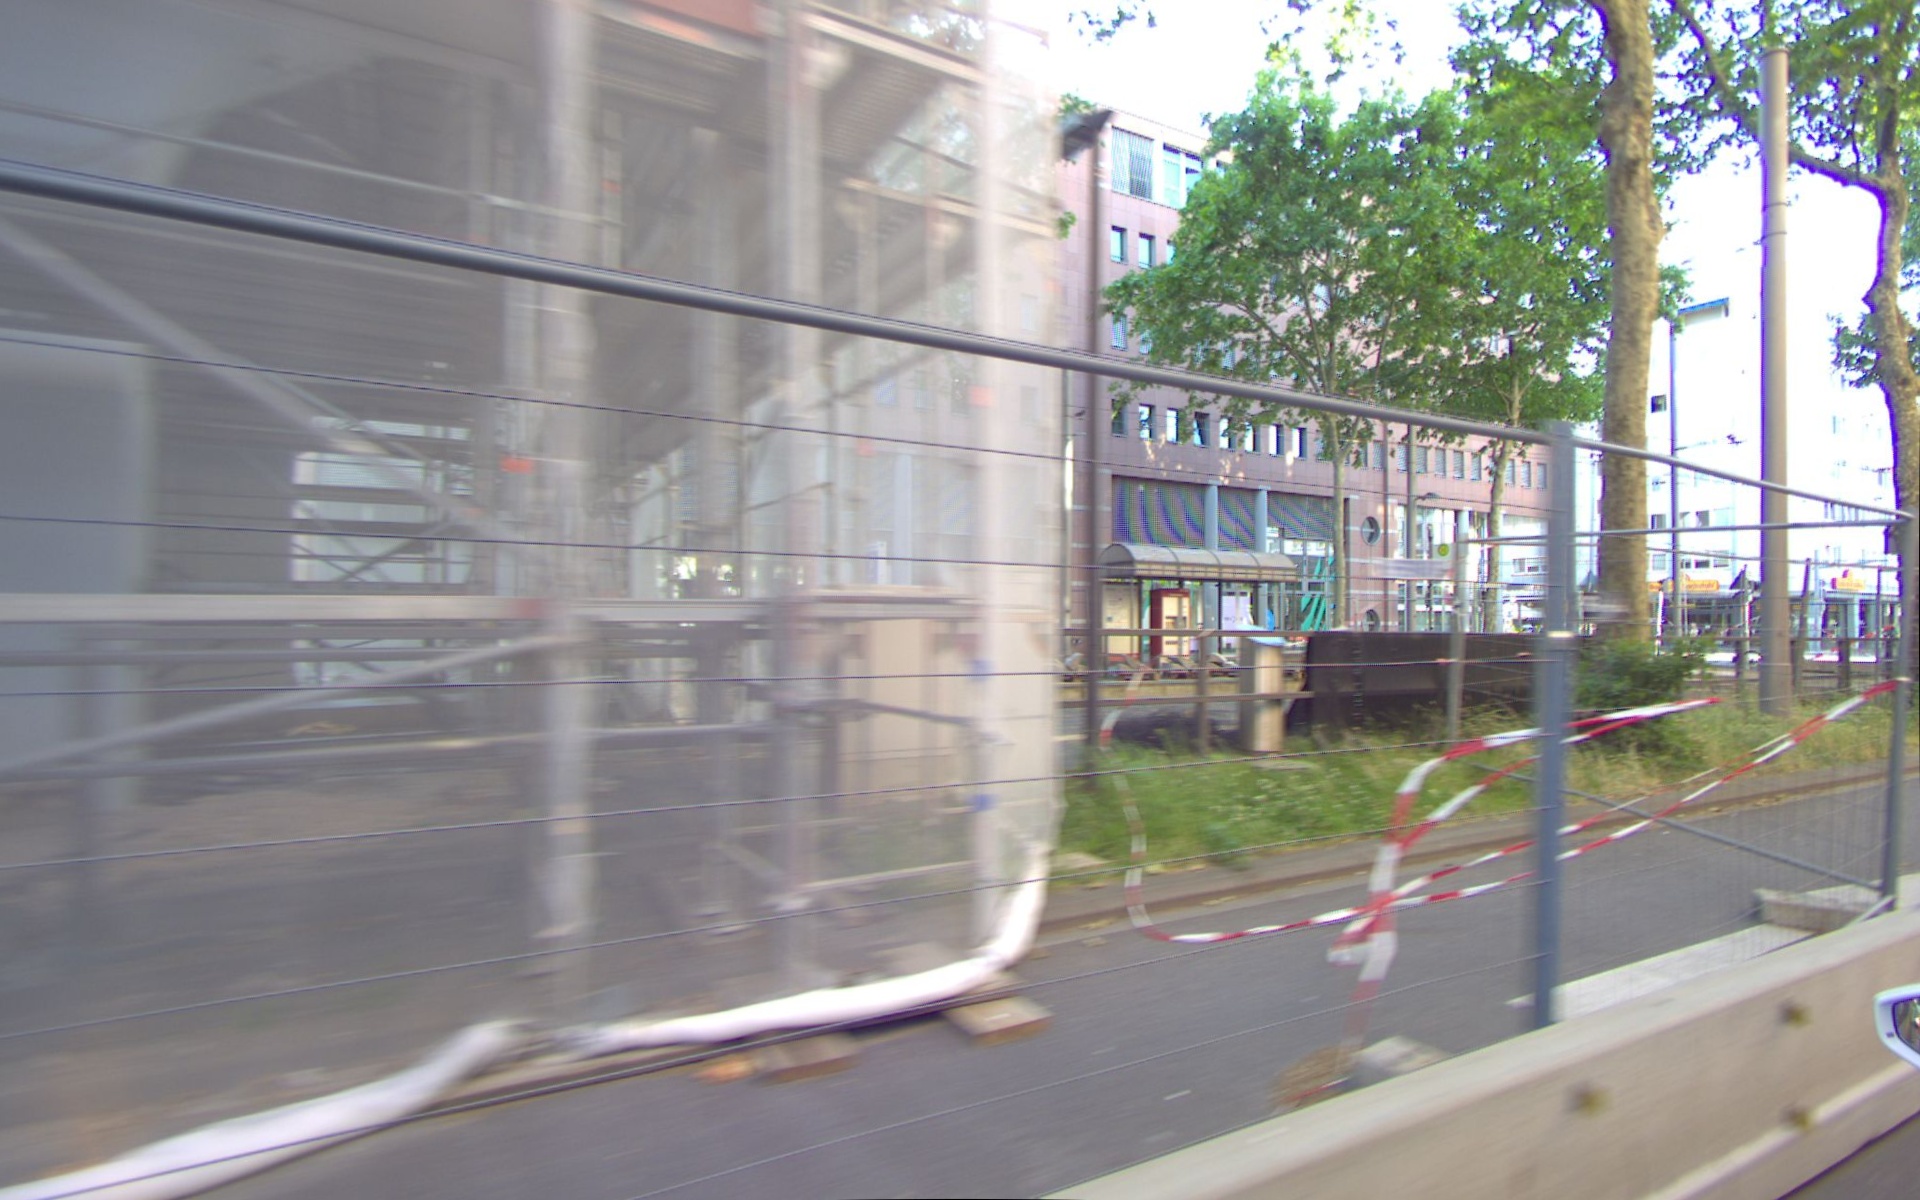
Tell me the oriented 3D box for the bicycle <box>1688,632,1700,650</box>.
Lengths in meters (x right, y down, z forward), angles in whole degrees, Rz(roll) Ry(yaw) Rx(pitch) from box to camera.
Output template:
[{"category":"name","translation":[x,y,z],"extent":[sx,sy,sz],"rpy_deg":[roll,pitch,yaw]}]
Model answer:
[{"category":"bicycle","translation":[46.855,2.611,64.123],"extent":[0.586,1.067,2.000],"rpy_deg":[0,-1,34]}]

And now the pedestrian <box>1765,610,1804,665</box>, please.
[{"category":"pedestrian","translation":[26.933,1.220,32.797],"extent":[0.839,1.757,0.773],"rpy_deg":[1,-1,-33]}]

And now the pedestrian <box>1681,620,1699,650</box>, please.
[{"category":"pedestrian","translation":[45.177,2.152,62.142],"extent":[0.775,1.815,0.625],"rpy_deg":[1,-1,-29]}]

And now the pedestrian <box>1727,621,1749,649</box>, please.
[{"category":"pedestrian","translation":[47.966,2.150,61.926],"extent":[0.767,1.747,0.801],"rpy_deg":[1,-1,-29]}]

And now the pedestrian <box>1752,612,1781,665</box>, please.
[{"category":"pedestrian","translation":[26.065,1.247,32.461],"extent":[0.524,1.702,0.564],"rpy_deg":[1,-1,-29]}]

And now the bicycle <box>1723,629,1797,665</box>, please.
[{"category":"bicycle","translation":[25.622,1.489,32.220],"extent":[0.475,1.093,1.821],"rpy_deg":[1,-1,-28]}]

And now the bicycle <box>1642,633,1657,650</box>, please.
[{"category":"bicycle","translation":[45.214,2.683,65.850],"extent":[0.588,1.067,1.995],"rpy_deg":[0,-1,42]}]
